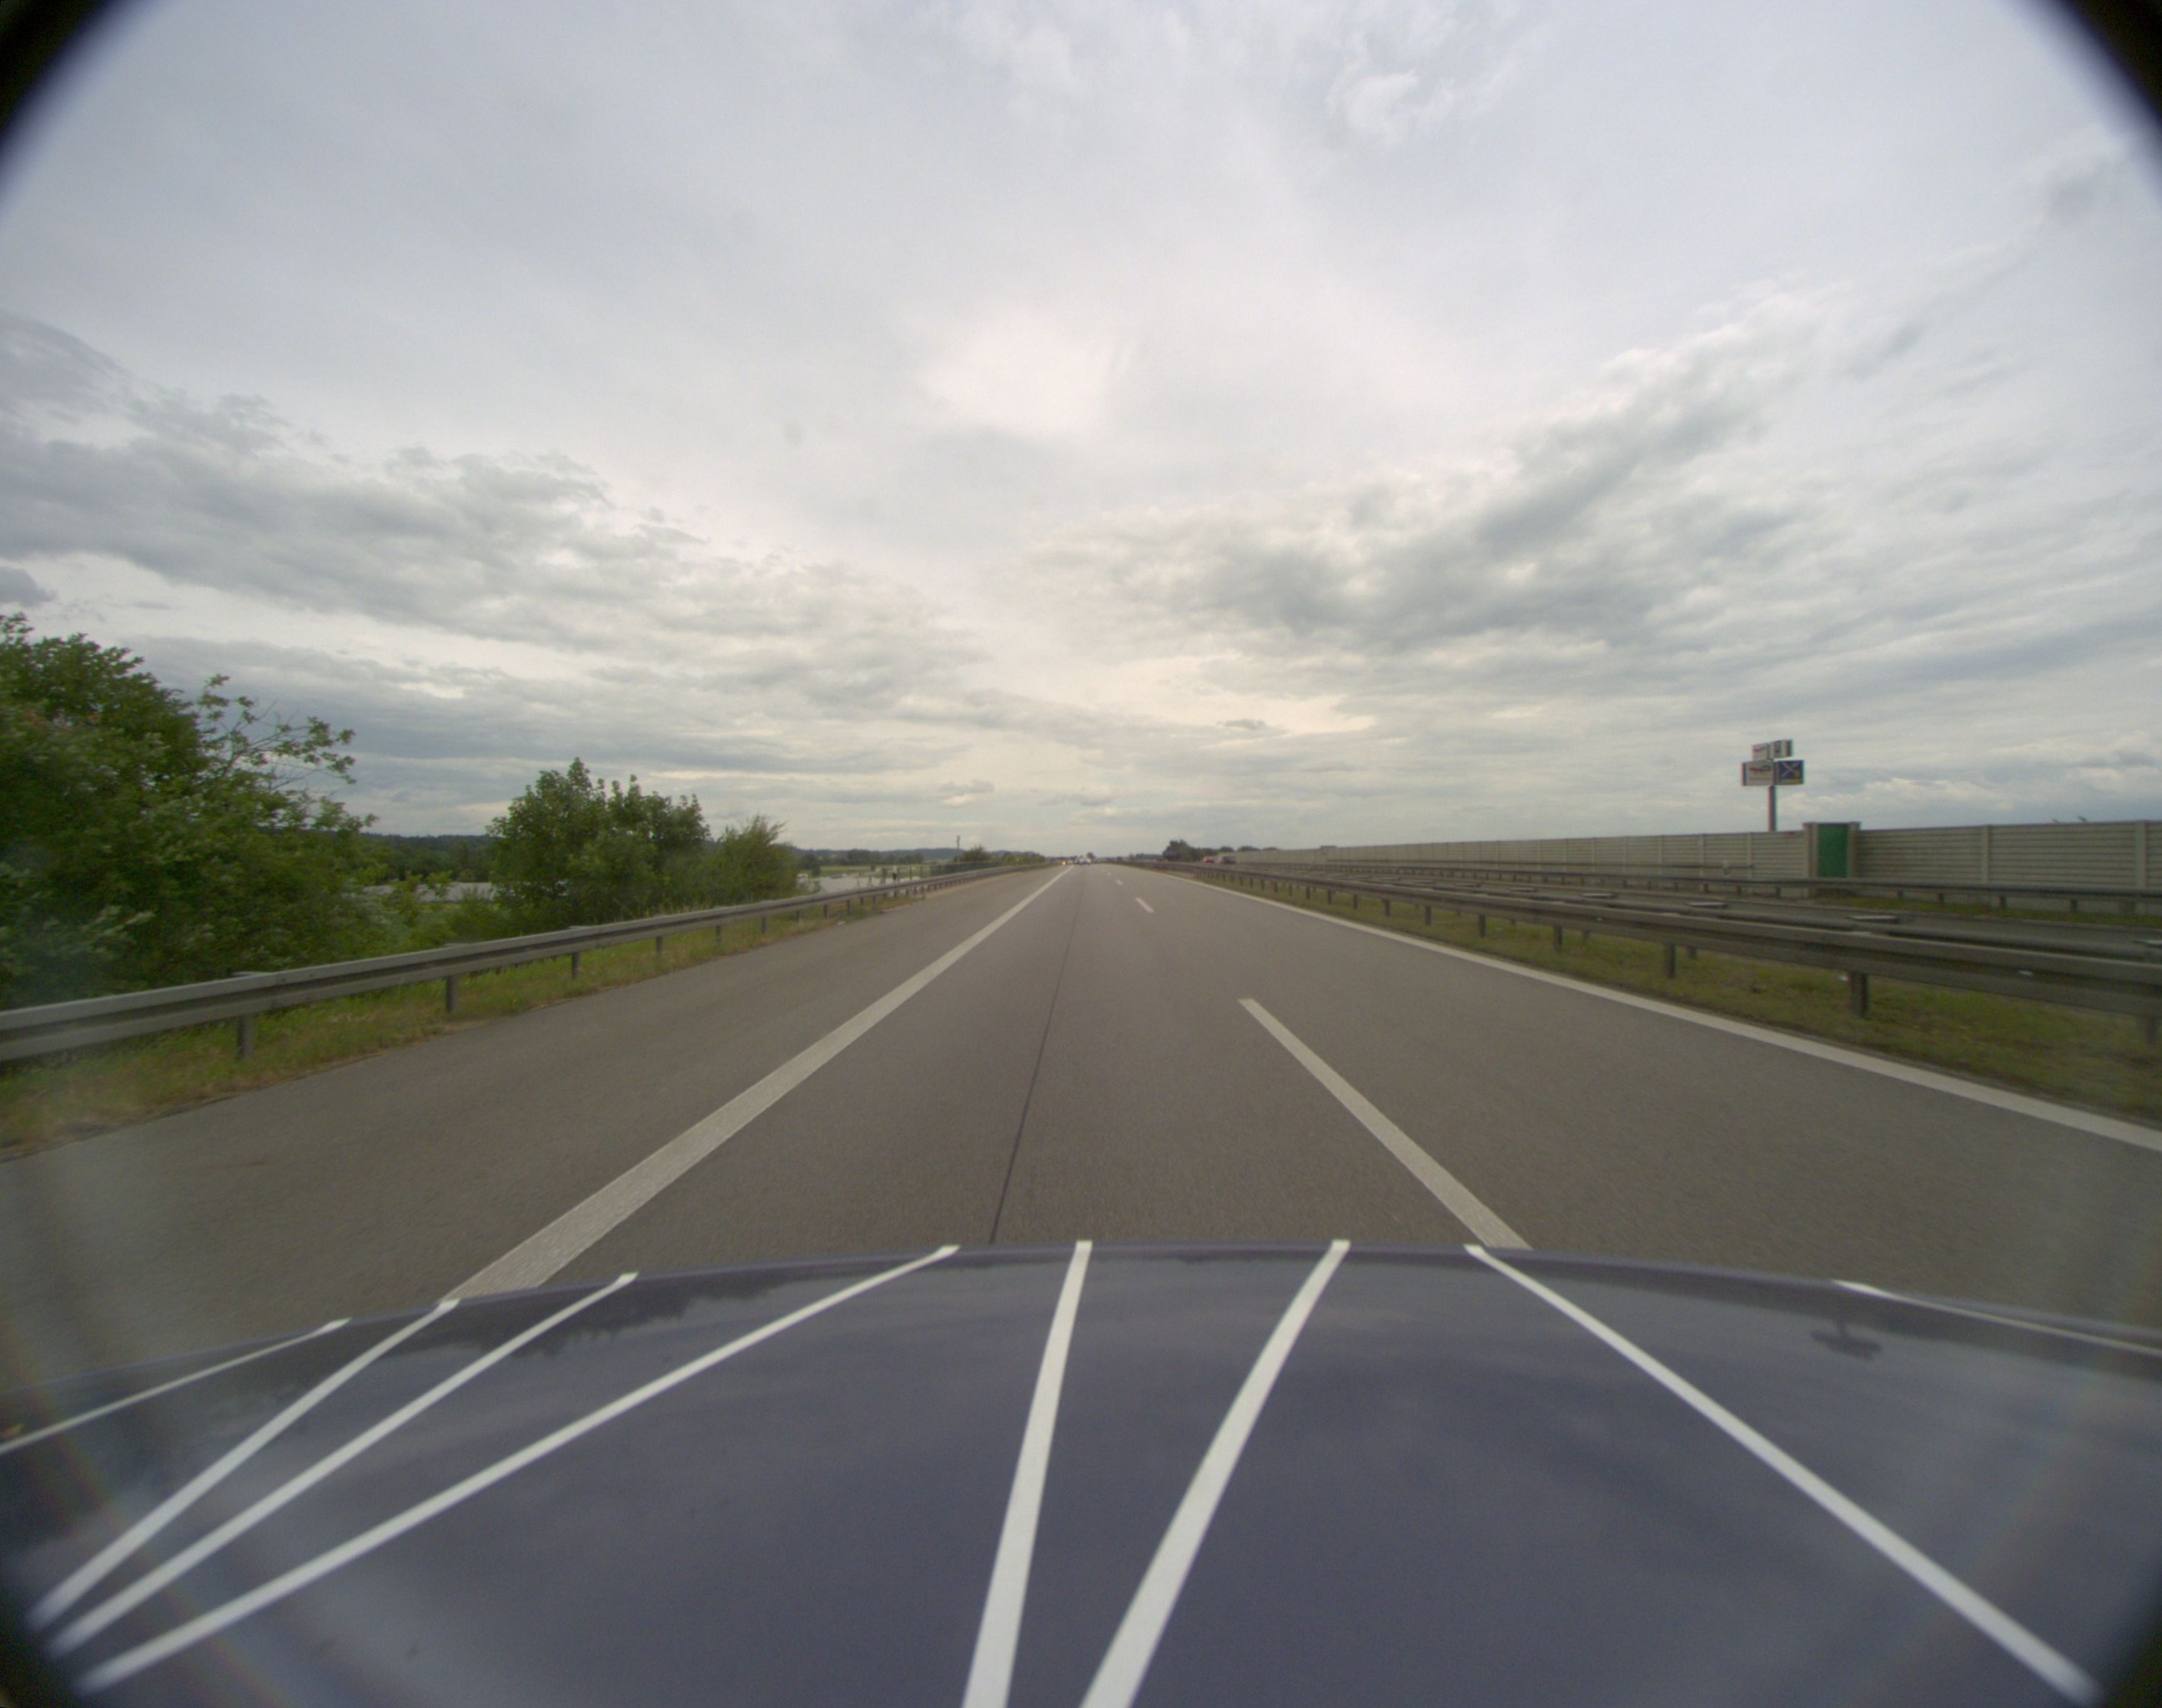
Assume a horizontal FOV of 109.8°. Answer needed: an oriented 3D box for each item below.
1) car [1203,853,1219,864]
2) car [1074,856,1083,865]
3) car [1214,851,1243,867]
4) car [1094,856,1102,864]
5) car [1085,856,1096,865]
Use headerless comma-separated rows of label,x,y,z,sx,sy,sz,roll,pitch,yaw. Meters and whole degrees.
car,18.985,0.645,111.084,1.708,1.486,4.566,0,0,1
car,-0.551,1.374,164.647,1.851,1.850,4.000,0,-1,-3
car,14.136,0.462,72.980,1.800,1.366,4.683,4,0,1
car,3.916,1.393,174.647,1.850,1.664,4.200,0,-1,0
car,1.713,1.154,139.733,1.850,1.664,4.200,0,-1,0
